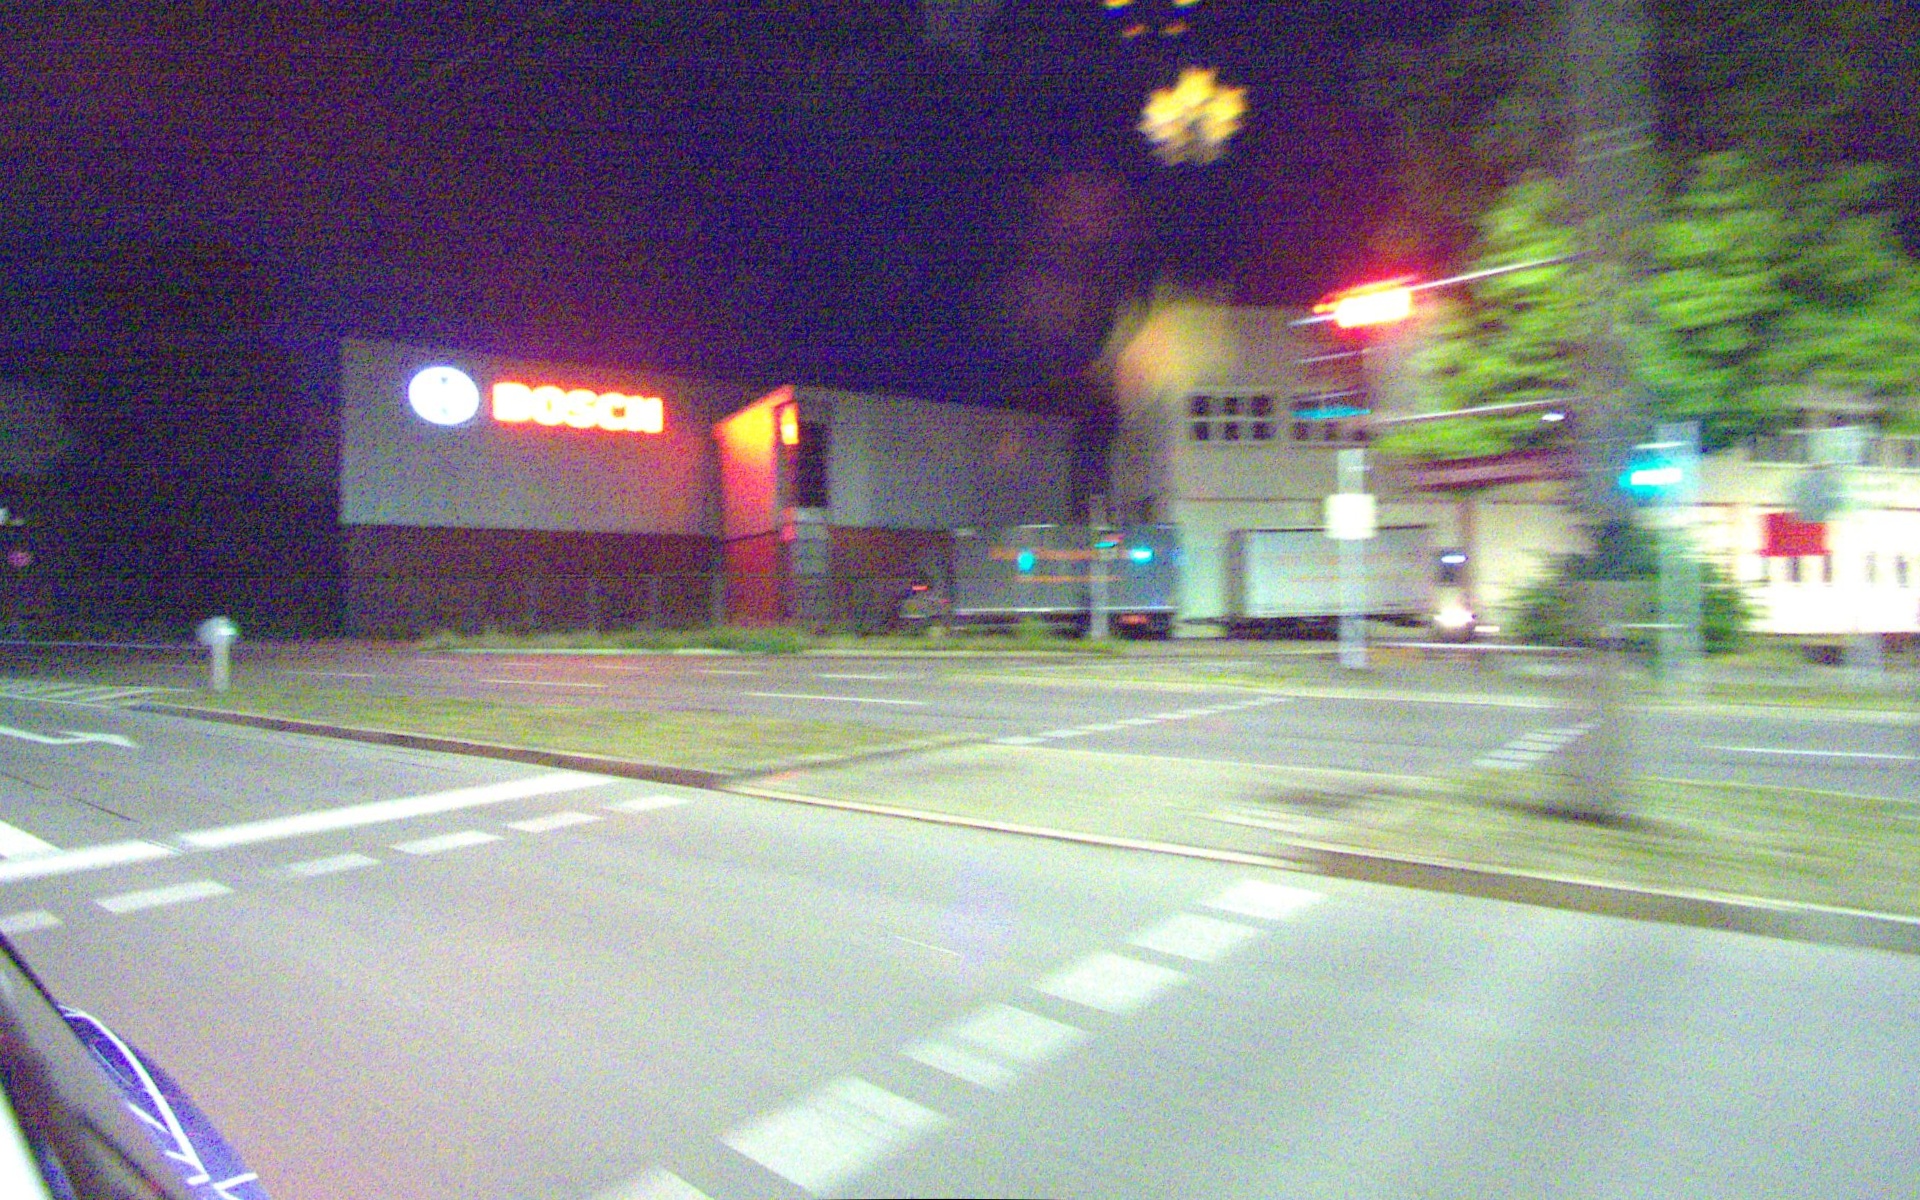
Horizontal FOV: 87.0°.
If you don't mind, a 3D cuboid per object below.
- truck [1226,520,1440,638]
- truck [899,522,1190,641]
[{"bbox_3d":[12.177,-0.674,33.404,6.118,3.721,2.402,-1,0,-1],"label":"truck"},{"bbox_3d":[2.682,-0.578,33.186,9.233,3.750,1.999,0,0,2],"label":"truck"}]
